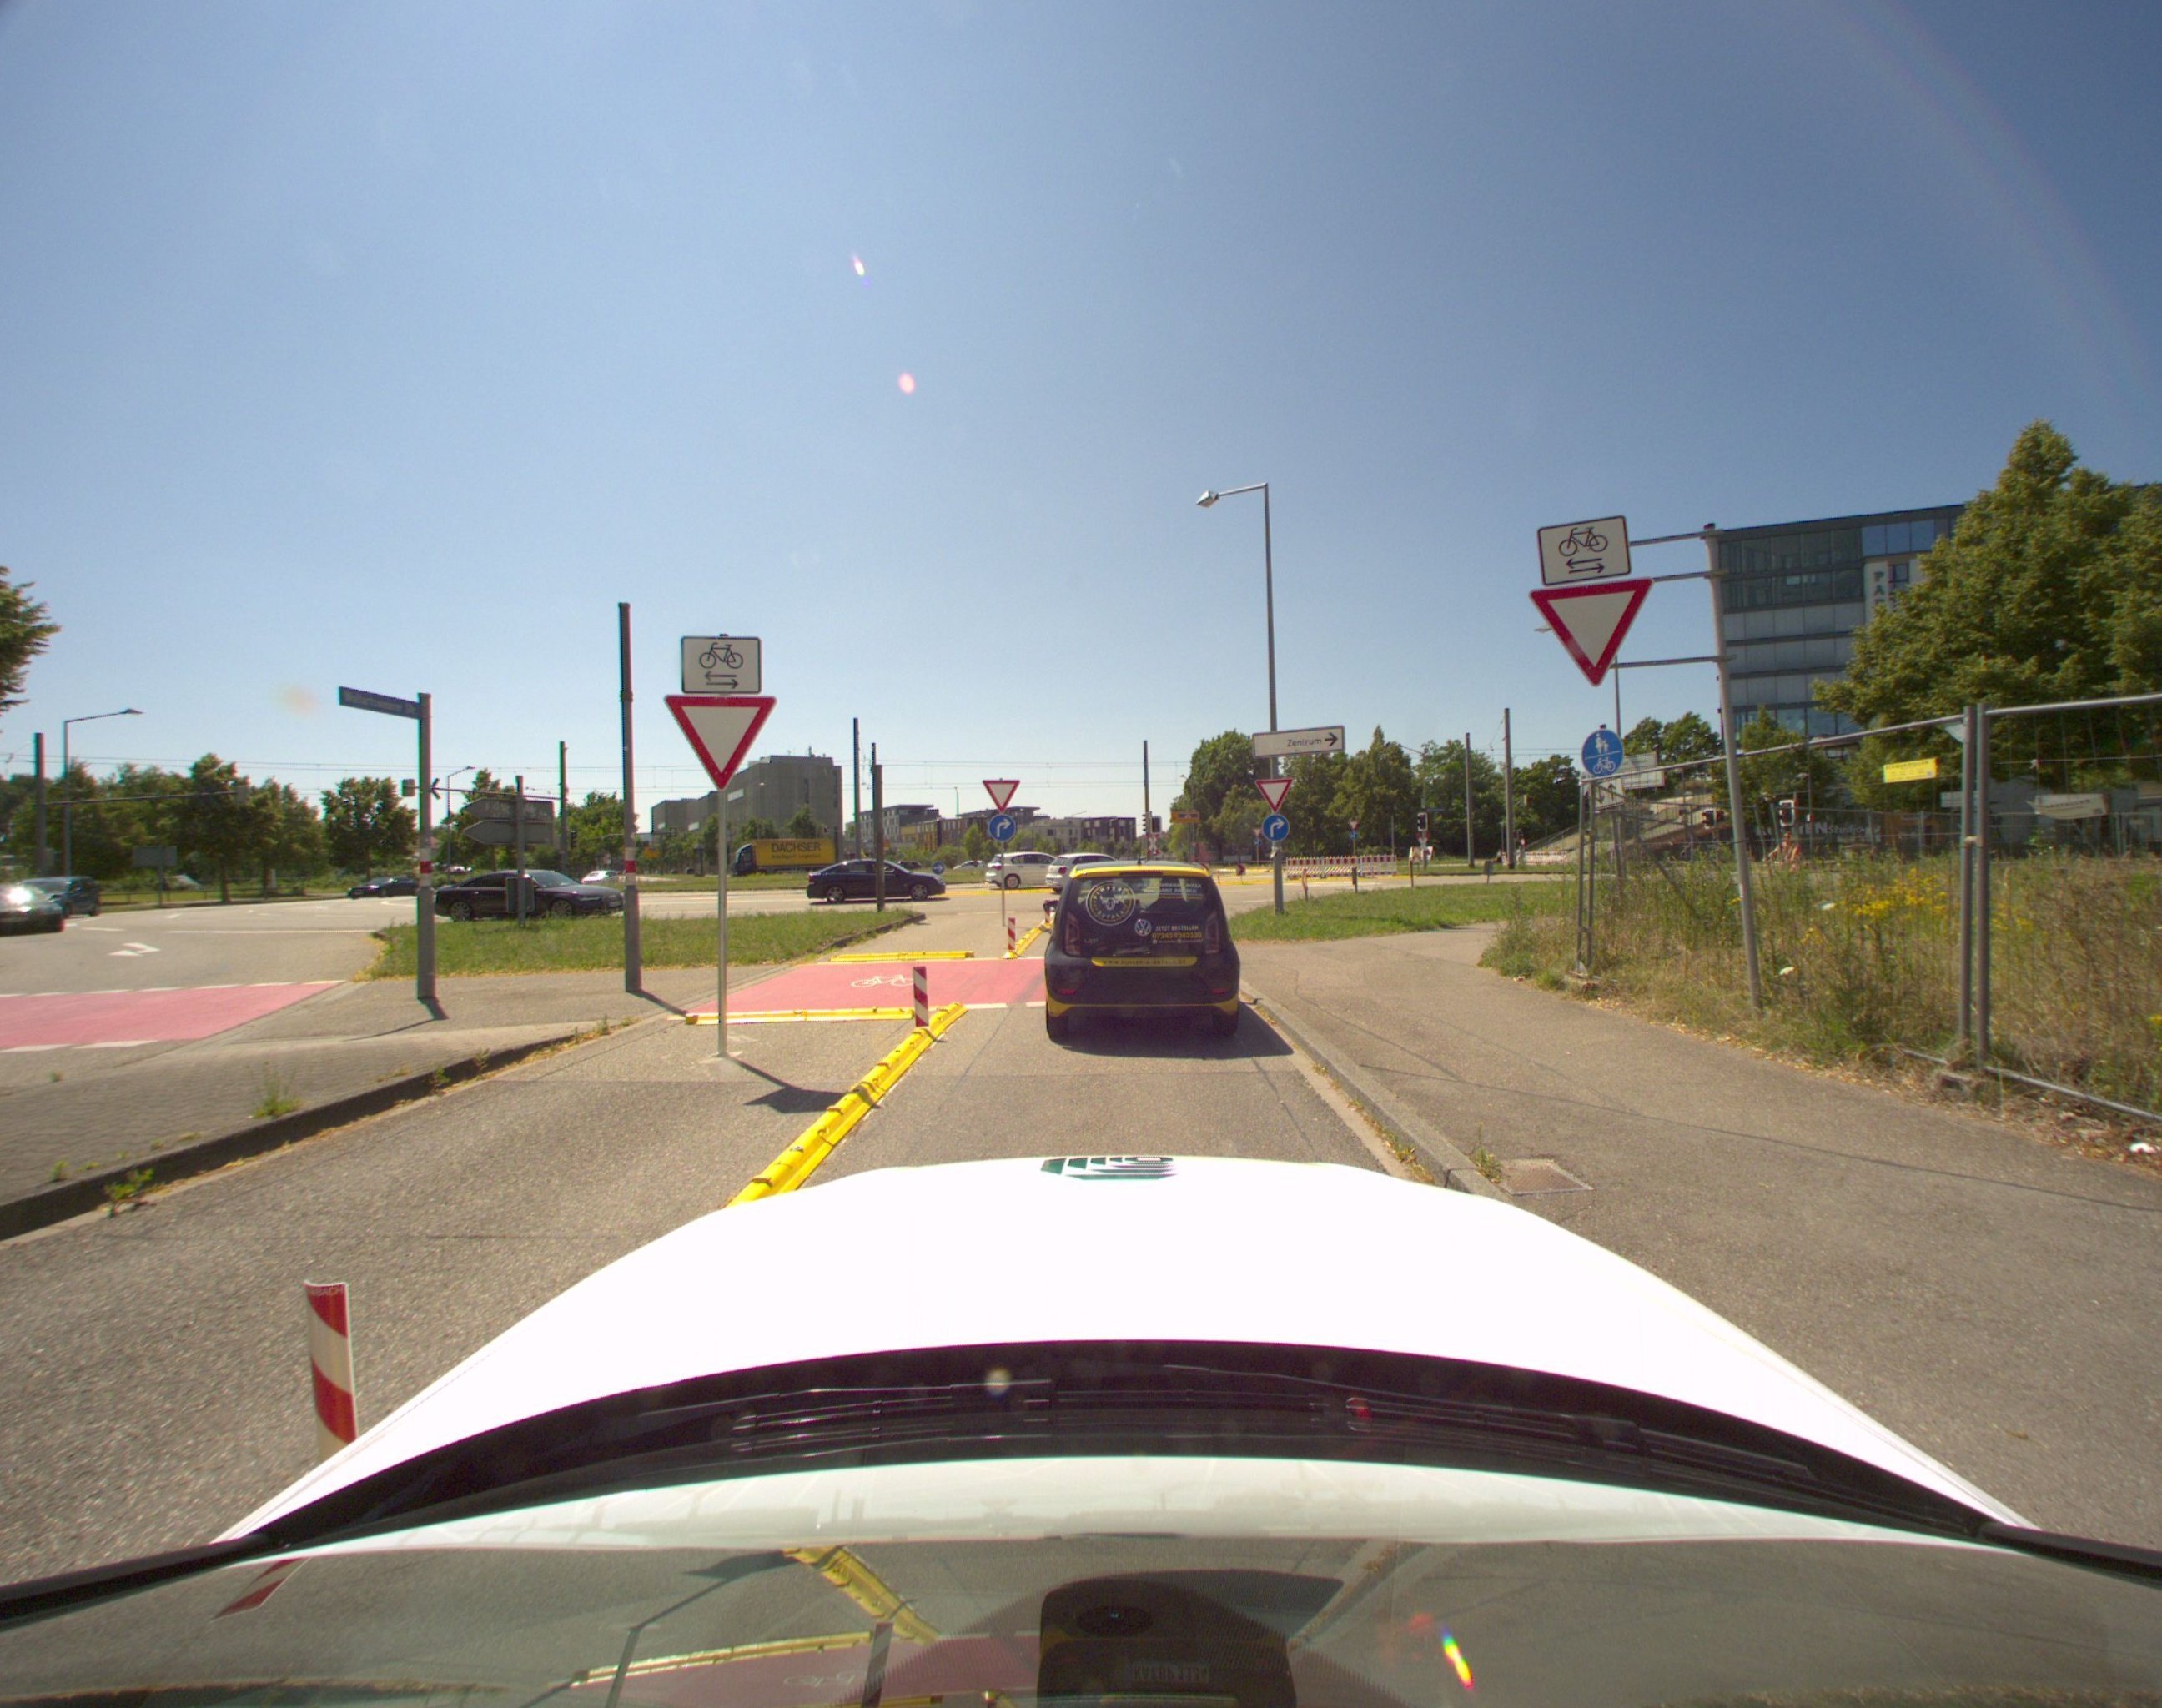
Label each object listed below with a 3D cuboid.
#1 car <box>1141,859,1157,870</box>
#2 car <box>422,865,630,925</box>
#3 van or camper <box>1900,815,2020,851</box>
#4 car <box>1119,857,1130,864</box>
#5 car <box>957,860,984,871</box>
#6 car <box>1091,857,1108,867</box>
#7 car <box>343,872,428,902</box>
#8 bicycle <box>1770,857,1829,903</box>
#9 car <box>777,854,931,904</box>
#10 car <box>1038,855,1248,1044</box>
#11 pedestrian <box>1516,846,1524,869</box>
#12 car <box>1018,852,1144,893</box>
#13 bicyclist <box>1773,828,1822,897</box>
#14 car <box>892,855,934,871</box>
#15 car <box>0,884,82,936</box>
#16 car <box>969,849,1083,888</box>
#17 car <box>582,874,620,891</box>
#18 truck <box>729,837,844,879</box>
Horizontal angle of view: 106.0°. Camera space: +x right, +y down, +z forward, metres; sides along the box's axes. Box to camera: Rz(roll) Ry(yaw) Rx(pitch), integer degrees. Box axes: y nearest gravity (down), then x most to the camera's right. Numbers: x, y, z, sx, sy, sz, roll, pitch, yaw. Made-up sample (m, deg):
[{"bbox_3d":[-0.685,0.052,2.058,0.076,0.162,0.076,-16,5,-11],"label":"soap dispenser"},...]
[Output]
[{"bbox_3d":[8.434,1.276,100.920,1.648,1.372,3.041,-1,0,11],"label":"car"},{"bbox_3d":[-15.714,1.138,23.189,4.612,1.449,2.003,-2,-1,5],"label":"car"},{"bbox_3d":[74.058,-1.707,68.728,6.720,2.822,2.391,-1,0,11],"label":"van or camper"},{"bbox_3d":[6.886,1.054,129.546,1.485,1.089,3.526,-1,0,6],"label":"car"},{"bbox_3d":[-12.311,1.250,90.665,2.886,1.155,1.201,-1,0,-10],"label":"car"},{"bbox_3d":[2.514,1.116,111.958,1.757,1.344,3.332,-1,0,11],"label":"car"},{"bbox_3d":[-45.247,2.102,53.150,1.851,1.436,4.943,0,3,-8],"label":"car"},{"bbox_3d":[17.751,0.628,20.095,2.095,1.058,0.435,-1,-1,-31],"label":"bicycle"},{"bbox_3d":[-7.553,0.821,27.587,4.741,1.449,1.994,-2,0,-9],"label":"car"},{"bbox_3d":[0.524,0.744,8.291,1.613,1.451,3.987,0,0,1],"label":"car"},{"bbox_3d":[34.456,0.285,63.865,0.444,1.739,0.319,-1,0,13],"label":"pedestrian"},{"bbox_3d":[0.011,0.646,30.377,4.355,1.449,1.843,0,0,-22],"label":"car"},{"bbox_3d":[17.752,0.208,20.178,0.712,1.664,0.640,-1,-2,-30],"label":"bicyclist"},{"bbox_3d":[-16.627,0.914,80.527,4.041,1.461,1.721,-1,0,-14],"label":"car"},{"bbox_3d":[-32.009,1.648,24.336,4.561,1.412,1.733,-2,0,26],"label":"car"},{"bbox_3d":[-2.318,0.587,34.013,4.368,1.486,1.986,-1,0,-21],"label":"car"},{"bbox_3d":[-45.466,2.673,77.246,1.823,1.454,4.998,-1,0,-15],"label":"car"},{"bbox_3d":[-27.277,0.277,75.866,9.659,3.659,2.677,-1,0,-37],"label":"truck"}]
